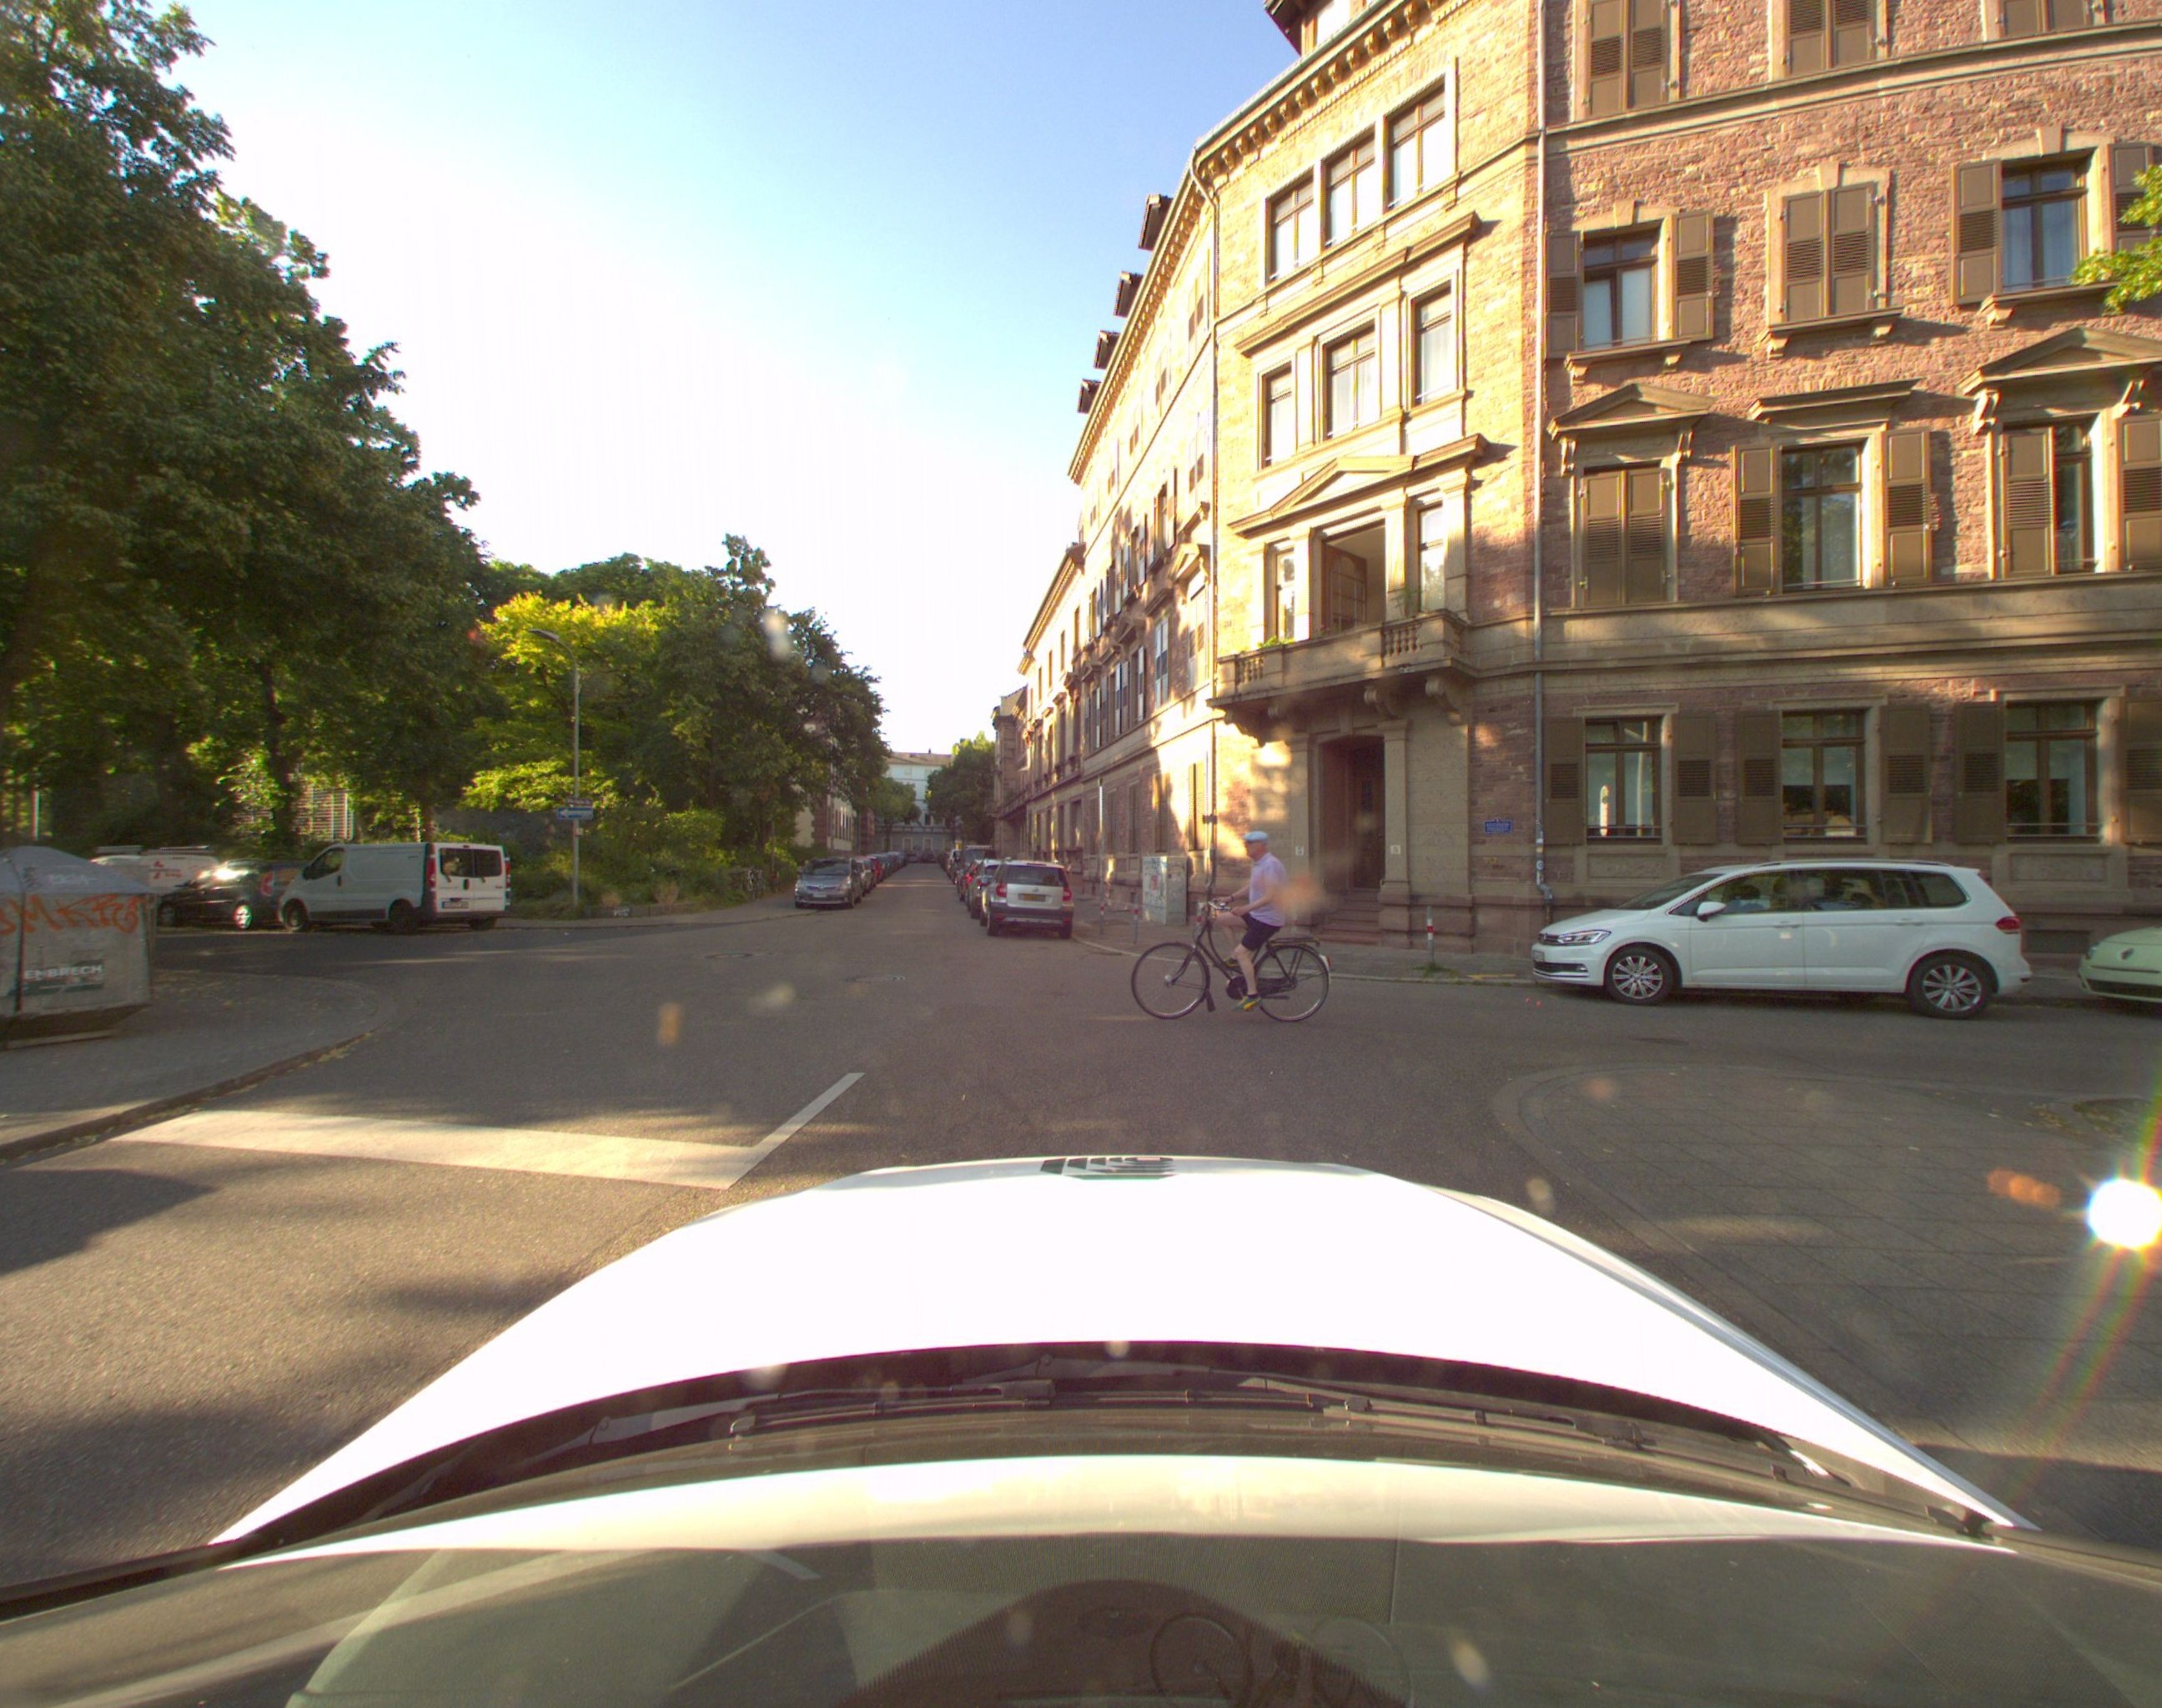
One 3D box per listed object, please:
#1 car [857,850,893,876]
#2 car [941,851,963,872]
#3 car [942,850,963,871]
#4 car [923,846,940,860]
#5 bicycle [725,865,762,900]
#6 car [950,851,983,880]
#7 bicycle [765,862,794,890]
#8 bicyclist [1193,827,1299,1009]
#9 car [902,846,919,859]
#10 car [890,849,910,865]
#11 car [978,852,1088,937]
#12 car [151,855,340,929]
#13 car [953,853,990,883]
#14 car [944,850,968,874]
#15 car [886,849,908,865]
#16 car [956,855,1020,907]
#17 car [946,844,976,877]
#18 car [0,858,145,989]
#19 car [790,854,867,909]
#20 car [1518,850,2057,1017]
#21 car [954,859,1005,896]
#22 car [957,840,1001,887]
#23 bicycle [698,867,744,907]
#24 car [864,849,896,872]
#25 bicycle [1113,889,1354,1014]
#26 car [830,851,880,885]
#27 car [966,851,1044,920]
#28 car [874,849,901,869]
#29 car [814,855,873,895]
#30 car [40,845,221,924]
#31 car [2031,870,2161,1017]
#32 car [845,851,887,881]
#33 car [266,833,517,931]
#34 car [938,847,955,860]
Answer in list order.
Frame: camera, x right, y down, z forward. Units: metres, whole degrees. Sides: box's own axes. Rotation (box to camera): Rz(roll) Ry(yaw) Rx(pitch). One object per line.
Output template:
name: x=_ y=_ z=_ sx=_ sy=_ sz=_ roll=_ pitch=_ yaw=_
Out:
car: x=-13.068 y=0.543 z=51.832 sx=1.826 sy=1.500 sz=3.917 roll=4 pitch=-1 yaw=-10
car: x=-11.478 y=0.632 z=72.443 sx=1.798 sy=1.728 sz=3.941 roll=3 pitch=-1 yaw=-10
car: x=-12.927 y=0.635 z=81.784 sx=1.798 sy=2.017 sz=3.941 roll=3 pitch=-1 yaw=-10
car: x=-21.371 y=-0.129 z=116.024 sx=1.998 sy=1.684 sz=3.977 roll=2 pitch=-2 yaw=-16
bicycle: x=-11.262 y=0.922 z=27.262 sx=0.597 sy=1.101 sz=2.618 roll=0 pitch=0 yaw=-10
car: x=-7.173 y=0.694 z=50.558 sx=1.798 sy=1.623 sz=3.941 roll=3 pitch=-1 yaw=-10
bicycle: x=-12.441 y=0.876 z=33.648 sx=0.596 sy=1.101 sz=2.619 roll=0 pitch=0 yaw=-9
bicyclist: x=1.500 y=0.561 z=7.517 sx=0.867 sy=1.588 sz=0.701 roll=0 pitch=-1 yaw=3
car: x=-24.098 y=-0.227 z=115.004 sx=1.998 sy=1.684 sz=3.977 roll=2 pitch=-2 yaw=-16
car: x=-19.373 y=0.322 z=87.314 sx=1.826 sy=1.500 sz=3.917 roll=4 pitch=-1 yaw=-10
car: x=-1.220 y=0.851 z=18.686 sx=1.916 sy=1.657 sz=4.171 roll=4 pitch=-1 yaw=-11
car: x=-19.919 y=0.852 z=19.444 sx=3.671 sy=1.637 sz=1.583 roll=0 pitch=0 yaw=16
car: x=-6.097 y=0.750 z=44.991 sx=1.798 sy=1.524 sz=3.941 roll=3 pitch=-1 yaw=-10
car: x=-10.340 y=0.620 z=67.255 sx=1.798 sy=1.839 sz=3.941 roll=3 pitch=-1 yaw=-10
car: x=-18.563 y=0.292 z=82.294 sx=1.826 sy=1.500 sz=3.917 roll=4 pitch=-1 yaw=-10
car: x=-3.375 y=0.901 z=29.026 sx=1.799 sy=1.614 sz=3.938 roll=3 pitch=-1 yaw=-13
car: x=-8.306 y=0.441 z=56.138 sx=1.798 sy=2.072 sz=3.941 roll=3 pitch=-1 yaw=-10
car: x=-13.960 y=0.780 z=9.507 sx=3.756 sy=1.521 sz=1.588 roll=4 pitch=-3 yaw=-44
car: x=-8.344 y=0.848 z=27.255 sx=1.826 sy=1.615 sz=4.276 roll=4 pitch=-1 yaw=-10
car: x=7.885 y=0.837 z=9.666 sx=4.450 sy=1.650 sz=1.882 roll=0 pitch=-3 yaw=15
car: x=-4.261 y=0.933 z=33.791 sx=1.798 sy=1.345 sz=3.941 roll=3 pitch=-1 yaw=-10
car: x=-5.001 y=0.441 z=39.478 sx=1.798 sy=2.072 sz=3.941 roll=3 pitch=-1 yaw=-10
bicycle: x=-10.830 y=0.957 z=24.586 sx=0.596 sy=1.101 sz=2.620 roll=0 pitch=0 yaw=-8
car: x=-14.028 y=0.438 z=56.949 sx=1.826 sy=1.500 sz=3.917 roll=4 pitch=-1 yaw=-10
bicycle: x=1.359 y=0.868 z=7.519 sx=2.107 sy=1.054 sz=0.701 roll=0 pitch=0 yaw=3
car: x=-10.792 y=0.649 z=39.107 sx=1.826 sy=1.478 sz=3.917 roll=4 pitch=-1 yaw=-10
car: x=-2.305 y=0.835 z=23.675 sx=1.826 sy=1.723 sz=4.528 roll=4 pitch=-1 yaw=-10
car: x=-15.954 y=0.414 z=67.232 sx=1.826 sy=1.500 sz=3.917 roll=4 pitch=-1 yaw=-10
car: x=-9.724 y=0.834 z=33.660 sx=1.826 sy=1.447 sz=3.917 roll=4 pitch=-1 yaw=-10
car: x=-24.251 y=0.720 z=20.789 sx=3.858 sy=1.903 sz=1.583 roll=0 pitch=0 yaw=17
car: x=12.933 y=0.954 z=8.433 sx=3.686 sy=1.490 sz=1.748 roll=0 pitch=-3 yaw=13
car: x=-11.936 y=0.646 z=45.463 sx=1.826 sy=1.500 sz=3.917 roll=4 pitch=-1 yaw=-10
car: x=-15.373 y=0.566 z=18.219 sx=4.610 sy=2.003 sz=1.958 roll=0 pitch=0 yaw=15
car: x=-19.301 y=-0.057 z=116.947 sx=1.998 sy=1.684 sz=3.977 roll=2 pitch=-2 yaw=-16
